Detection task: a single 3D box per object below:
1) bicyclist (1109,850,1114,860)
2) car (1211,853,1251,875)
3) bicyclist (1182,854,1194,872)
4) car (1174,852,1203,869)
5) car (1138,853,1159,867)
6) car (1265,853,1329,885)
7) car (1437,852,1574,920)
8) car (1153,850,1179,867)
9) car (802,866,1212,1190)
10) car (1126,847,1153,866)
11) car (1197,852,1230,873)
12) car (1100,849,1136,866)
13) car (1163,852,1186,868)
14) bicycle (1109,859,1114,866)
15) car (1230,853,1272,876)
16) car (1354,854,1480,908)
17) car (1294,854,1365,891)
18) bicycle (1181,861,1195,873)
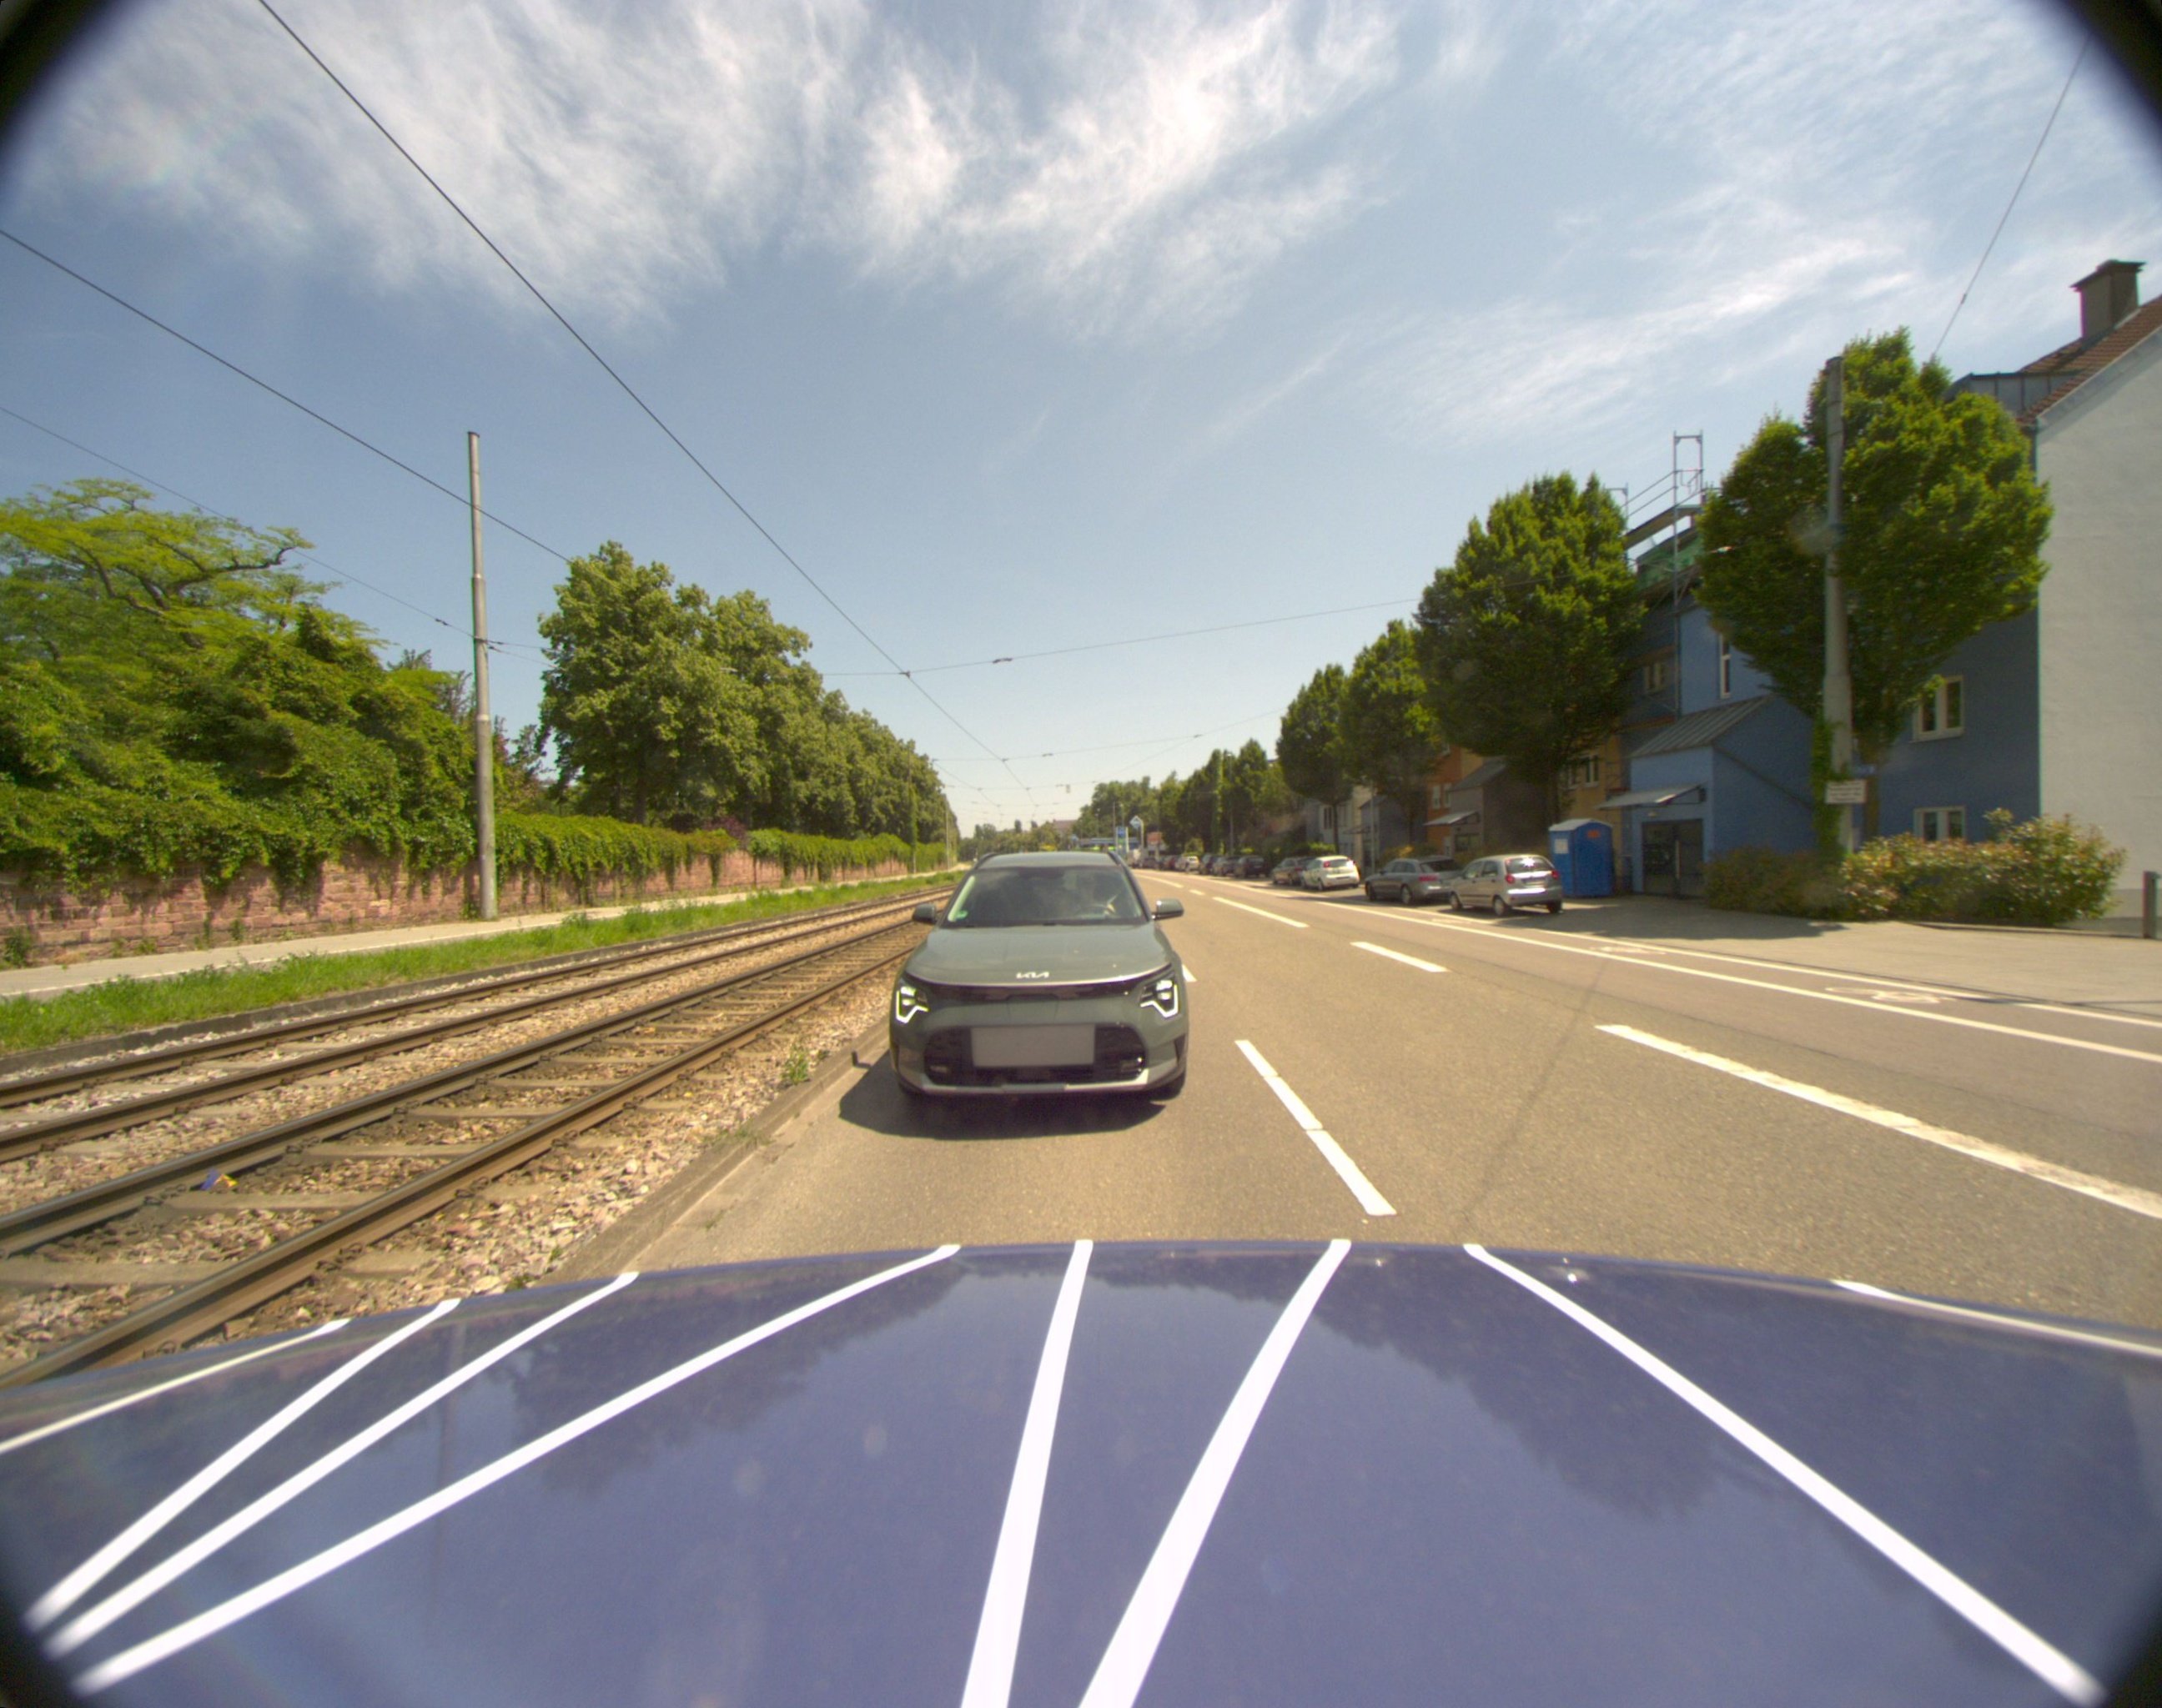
[{"bbox_3d":[4.806,0.124,119.183,0.737,1.496,0.737,0,1,1],"label":"bicyclist"},{"bbox_3d":[11.179,0.700,56.960,1.830,1.487,4.756,-3,0,-1],"label":"car"},{"bbox_3d":[8.673,0.731,61.722,0.737,1.422,1.124,2,1,-2],"label":"bicyclist"},{"bbox_3d":[10.439,0.638,74.102,1.845,1.573,4.495,-3,0,-2],"label":"car"},{"bbox_3d":[8.386,0.739,94.164,1.870,1.528,4.142,-3,0,-4],"label":"car"},{"bbox_3d":[11.438,0.758,40.541,1.708,1.421,4.750,-6,0,-3],"label":"car"},{"bbox_3d":[11.035,0.775,20.039,1.597,1.487,3.448,-6,0,1],"label":"car"},{"bbox_3d":[9.500,0.496,85.201,1.999,1.783,4.556,-2,0,-5],"label":"car"},{"bbox_3d":[-0.291,0.950,5.961,2.062,1.534,4.001,-3,0,3],"label":"car"},{"bbox_3d":[7.647,0.352,100.134,2.285,2.294,5.226,-3,0,-8],"label":"car"},{"bbox_3d":[10.920,0.669,62.780,1.772,1.579,4.147,-3,0,-3],"label":"car"},{"bbox_3d":[5.916,0.537,121.402,5.219,2.294,2.288,-3,0,16],"label":"car"},{"bbox_3d":[9.830,0.669,79.994,1.604,1.584,3.680,-3,0,-6],"label":"car"},{"bbox_3d":[4.797,1.327,119.283,0.641,1.089,1.639,1,1,1],"label":"bicycle"},{"bbox_3d":[11.510,0.697,51.670,1.754,1.424,4.257,-4,0,0],"label":"car"},{"bbox_3d":[10.969,0.832,25.300,1.791,1.441,5.133,-5,-1,0],"label":"car"},{"bbox_3d":[11.383,0.815,35.161,1.750,1.434,4.420,-6,0,0],"label":"car"},{"bbox_3d":[8.687,1.074,61.839,0.703,0.945,2.243,1,-1,-2],"label":"bicycle"}]
